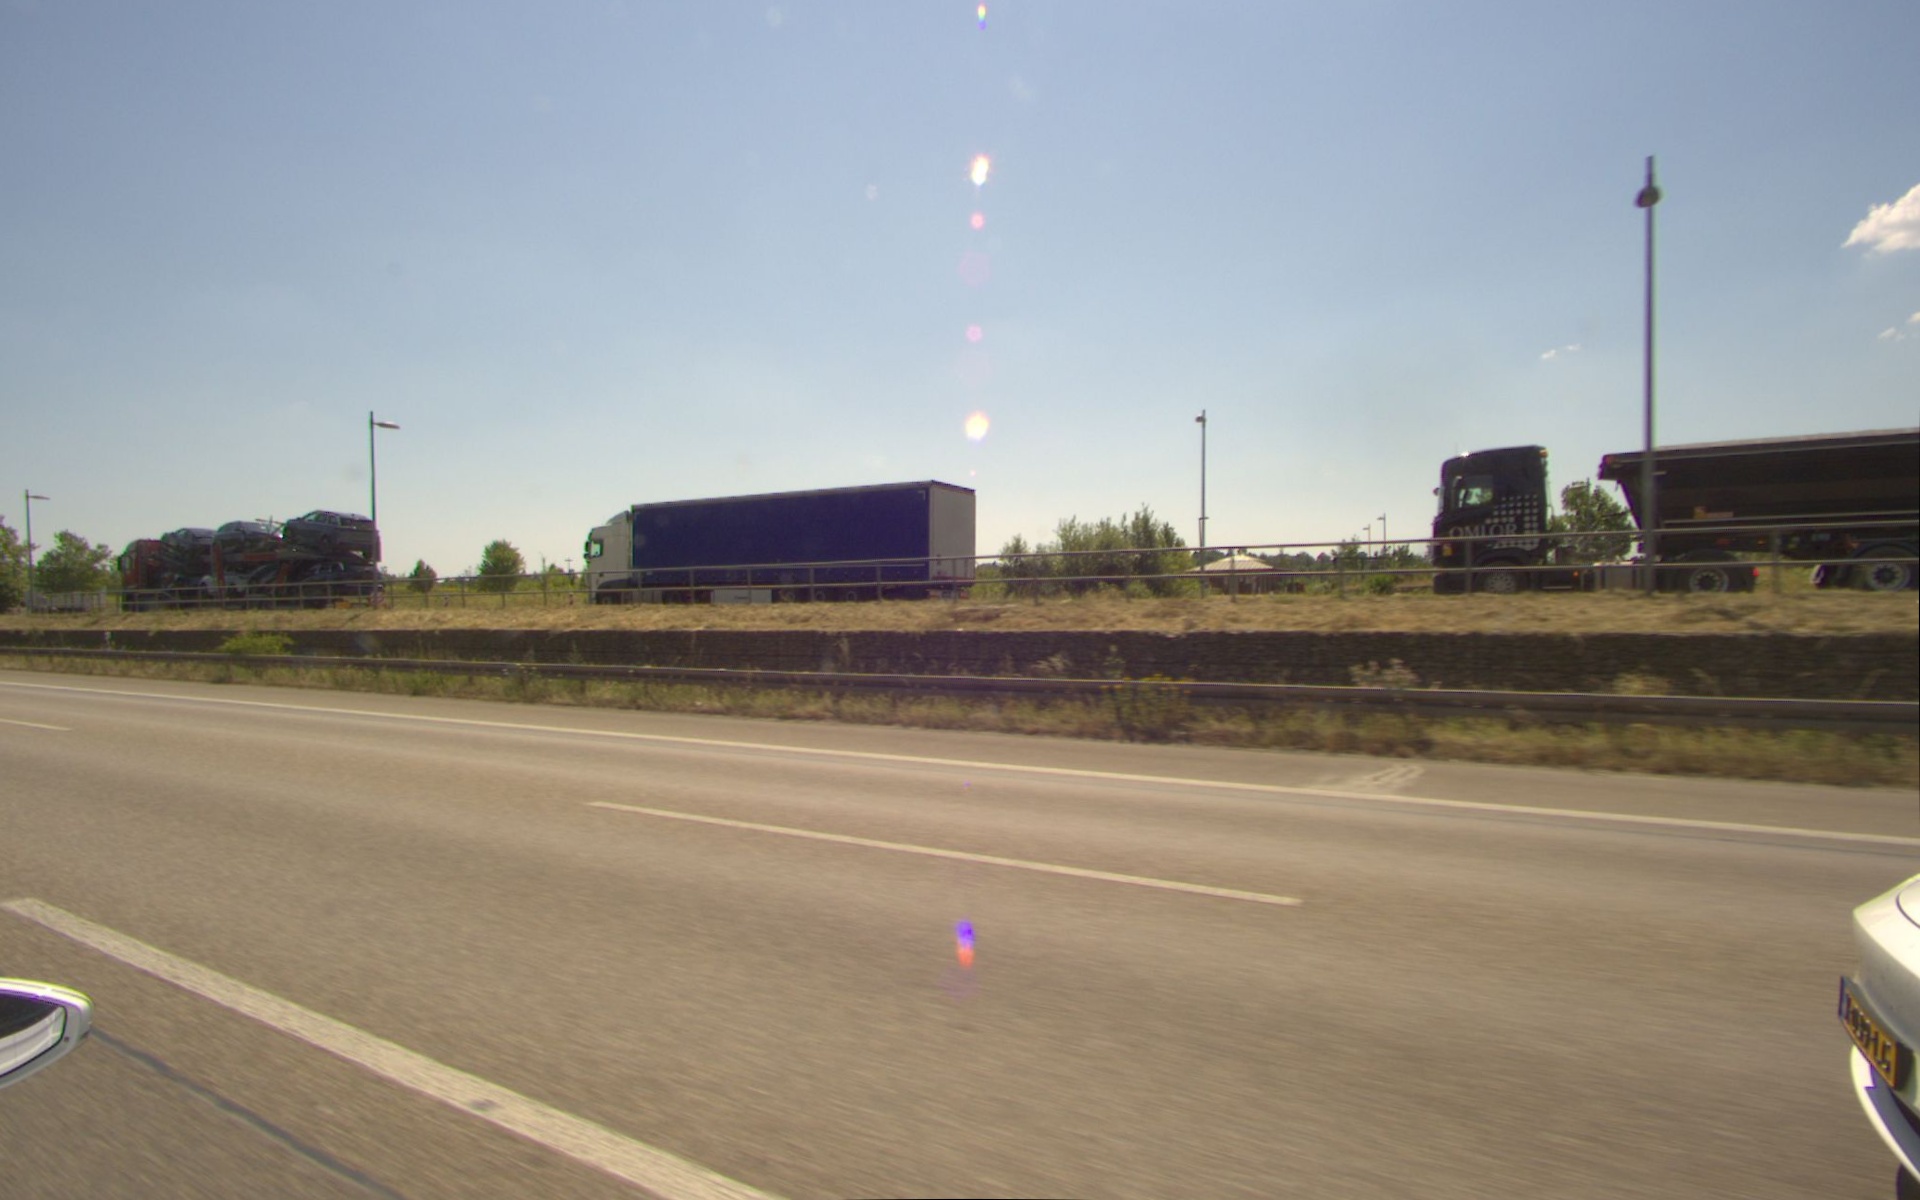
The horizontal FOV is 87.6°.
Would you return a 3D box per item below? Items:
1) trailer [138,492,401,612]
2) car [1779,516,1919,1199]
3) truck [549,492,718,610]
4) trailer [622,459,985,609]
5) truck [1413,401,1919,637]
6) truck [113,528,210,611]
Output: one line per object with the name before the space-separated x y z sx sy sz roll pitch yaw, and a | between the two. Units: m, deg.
trailer | -31.011 -1.778 44.261 18.158 4.312 2.601 -1 -2 32
car | 4.544 0.625 0.996 5.520 1.657 1.948 -1 -2 32
truck | -12.824 -1.750 39.230 6.309 4.135 3.046 -1 -2 33
trailer | -5.871 -1.902 34.663 14.059 4.135 3.046 -1 -2 33
truck | 16.102 -1.332 20.231 12.337 4.135 3.783 -1 -2 32
truck | -39.636 -1.425 49.713 3.943 3.876 2.598 -1 -2 32
